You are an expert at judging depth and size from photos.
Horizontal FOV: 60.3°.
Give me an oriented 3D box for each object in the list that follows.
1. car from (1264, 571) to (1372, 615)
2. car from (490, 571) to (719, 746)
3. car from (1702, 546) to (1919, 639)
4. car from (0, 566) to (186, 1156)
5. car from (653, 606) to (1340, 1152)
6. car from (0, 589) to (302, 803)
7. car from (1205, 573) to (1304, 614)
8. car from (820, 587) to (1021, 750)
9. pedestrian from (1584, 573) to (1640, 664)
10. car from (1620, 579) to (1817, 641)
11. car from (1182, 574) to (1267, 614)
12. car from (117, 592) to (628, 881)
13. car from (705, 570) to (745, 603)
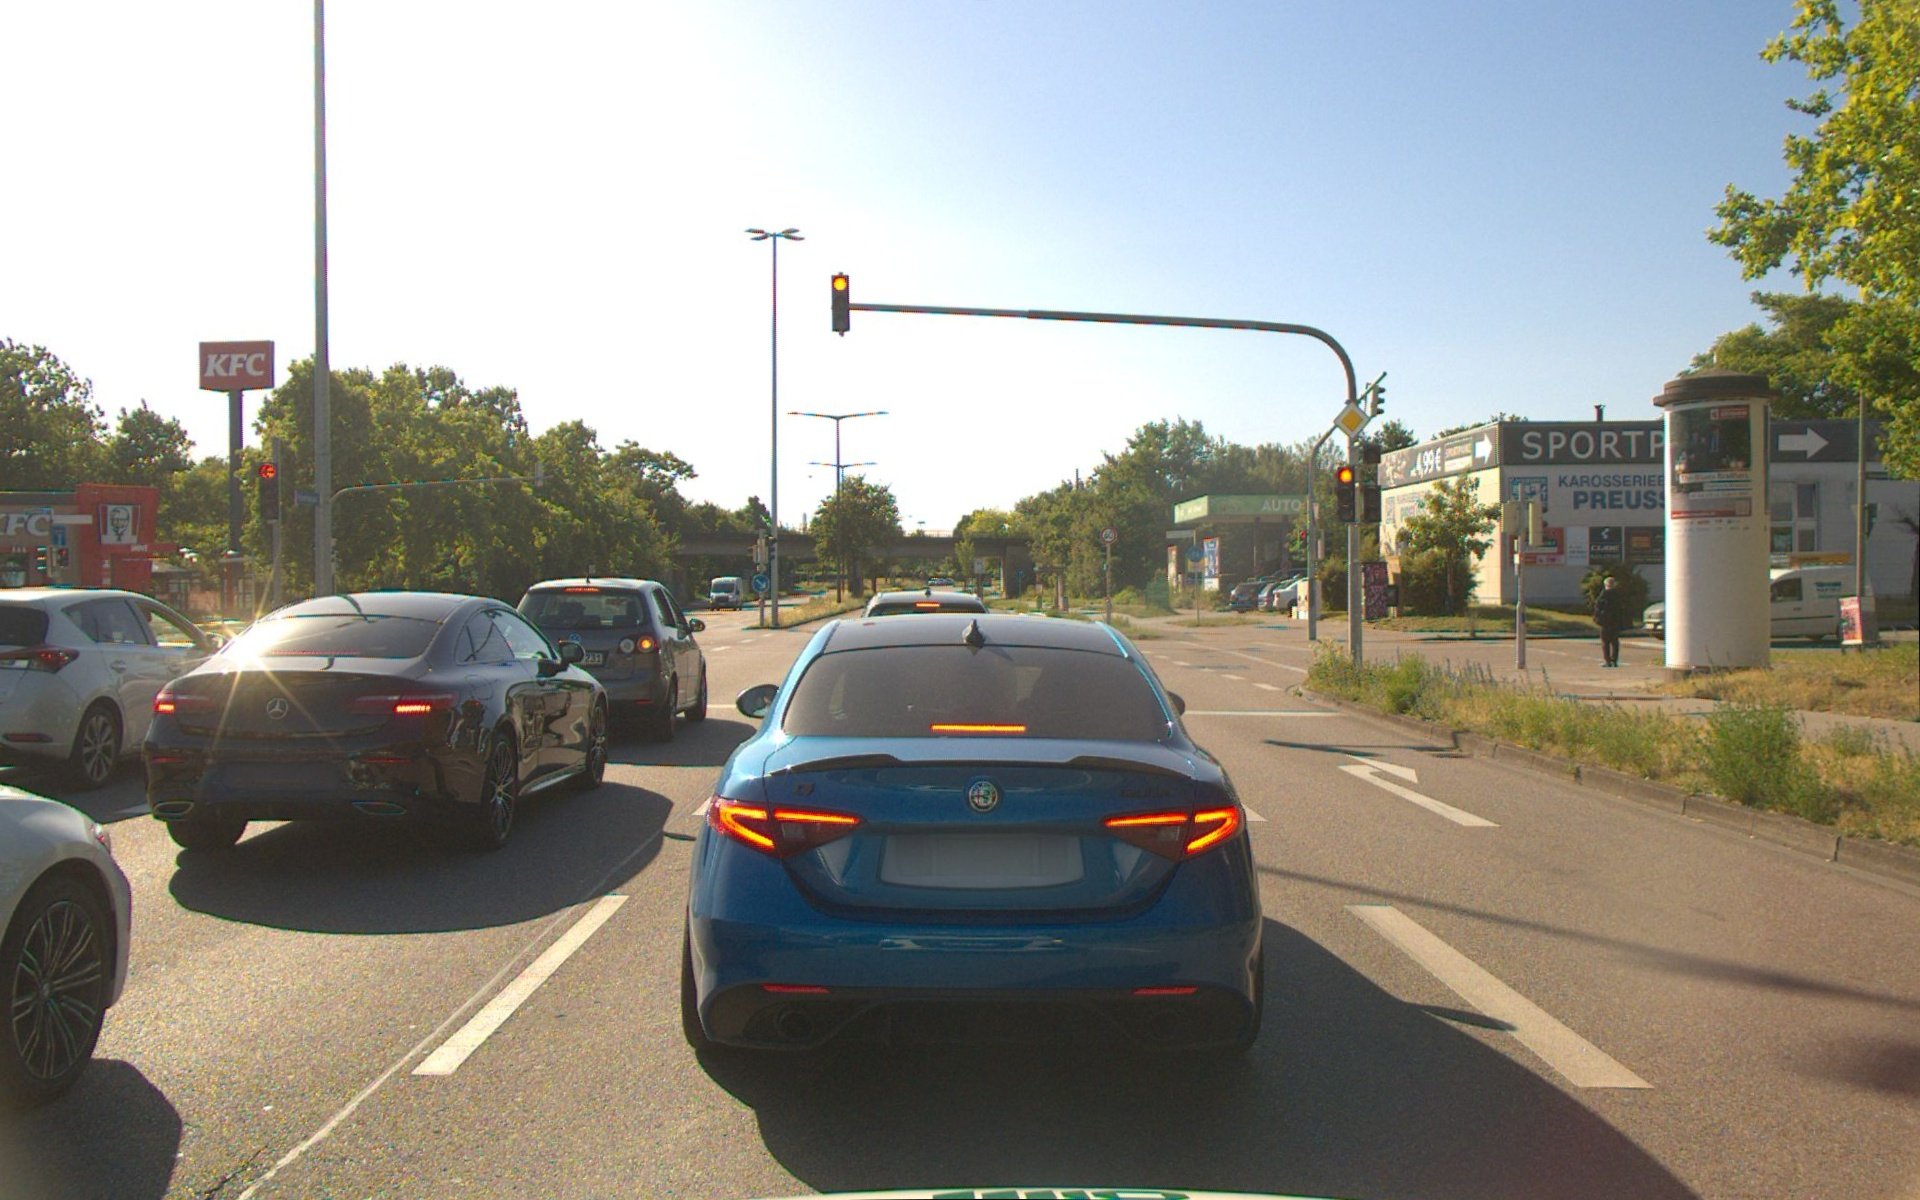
[{"bbox_3d":[14.351,-0.283,66.341,3.923,1.736,1.687,0,0,-17],"label":"car"},{"bbox_3d":[-3.605,0.532,17.432,1.615,1.626,3.931,0,0,-1],"label":"car"},{"bbox_3d":[20.606,-0.195,40.177,4.318,2.183,1.998,0,0,-4],"label":"car"},{"bbox_3d":[-3.349,0.691,3.116,1.732,1.535,4.460,0,0,-1],"label":"car"},{"bbox_3d":[0.073,0.753,6.384,1.828,1.409,3.931,0,0,-1],"label":"car"},{"bbox_3d":[-7.120,0.645,13.465,1.819,1.454,4.403,0,0,-1],"label":"car"},{"bbox_3d":[12.680,-0.272,71.171,3.928,1.736,1.686,0,0,-20],"label":"car"},{"bbox_3d":[-0.391,0.614,17.074,1.828,1.475,3.931,0,0,-1],"label":"car"},{"bbox_3d":[12.692,0.353,32.212,0.805,1.752,0.854,0,0,6],"label":"pedestrian"},{"bbox_3d":[19.934,0.237,43.598,4.318,1.580,1.998,0,0,-4],"label":"car"},{"bbox_3d":[11.885,-0.266,74.350,3.428,1.736,1.688,0,0,-16],"label":"car"},{"bbox_3d":[-3.413,0.677,10.589,1.732,1.439,4.460,0,0,-1],"label":"car"},{"bbox_3d":[-17.750,-1.028,125.125,2.383,2.469,5.828,0,0,-2],"label":"car"}]
